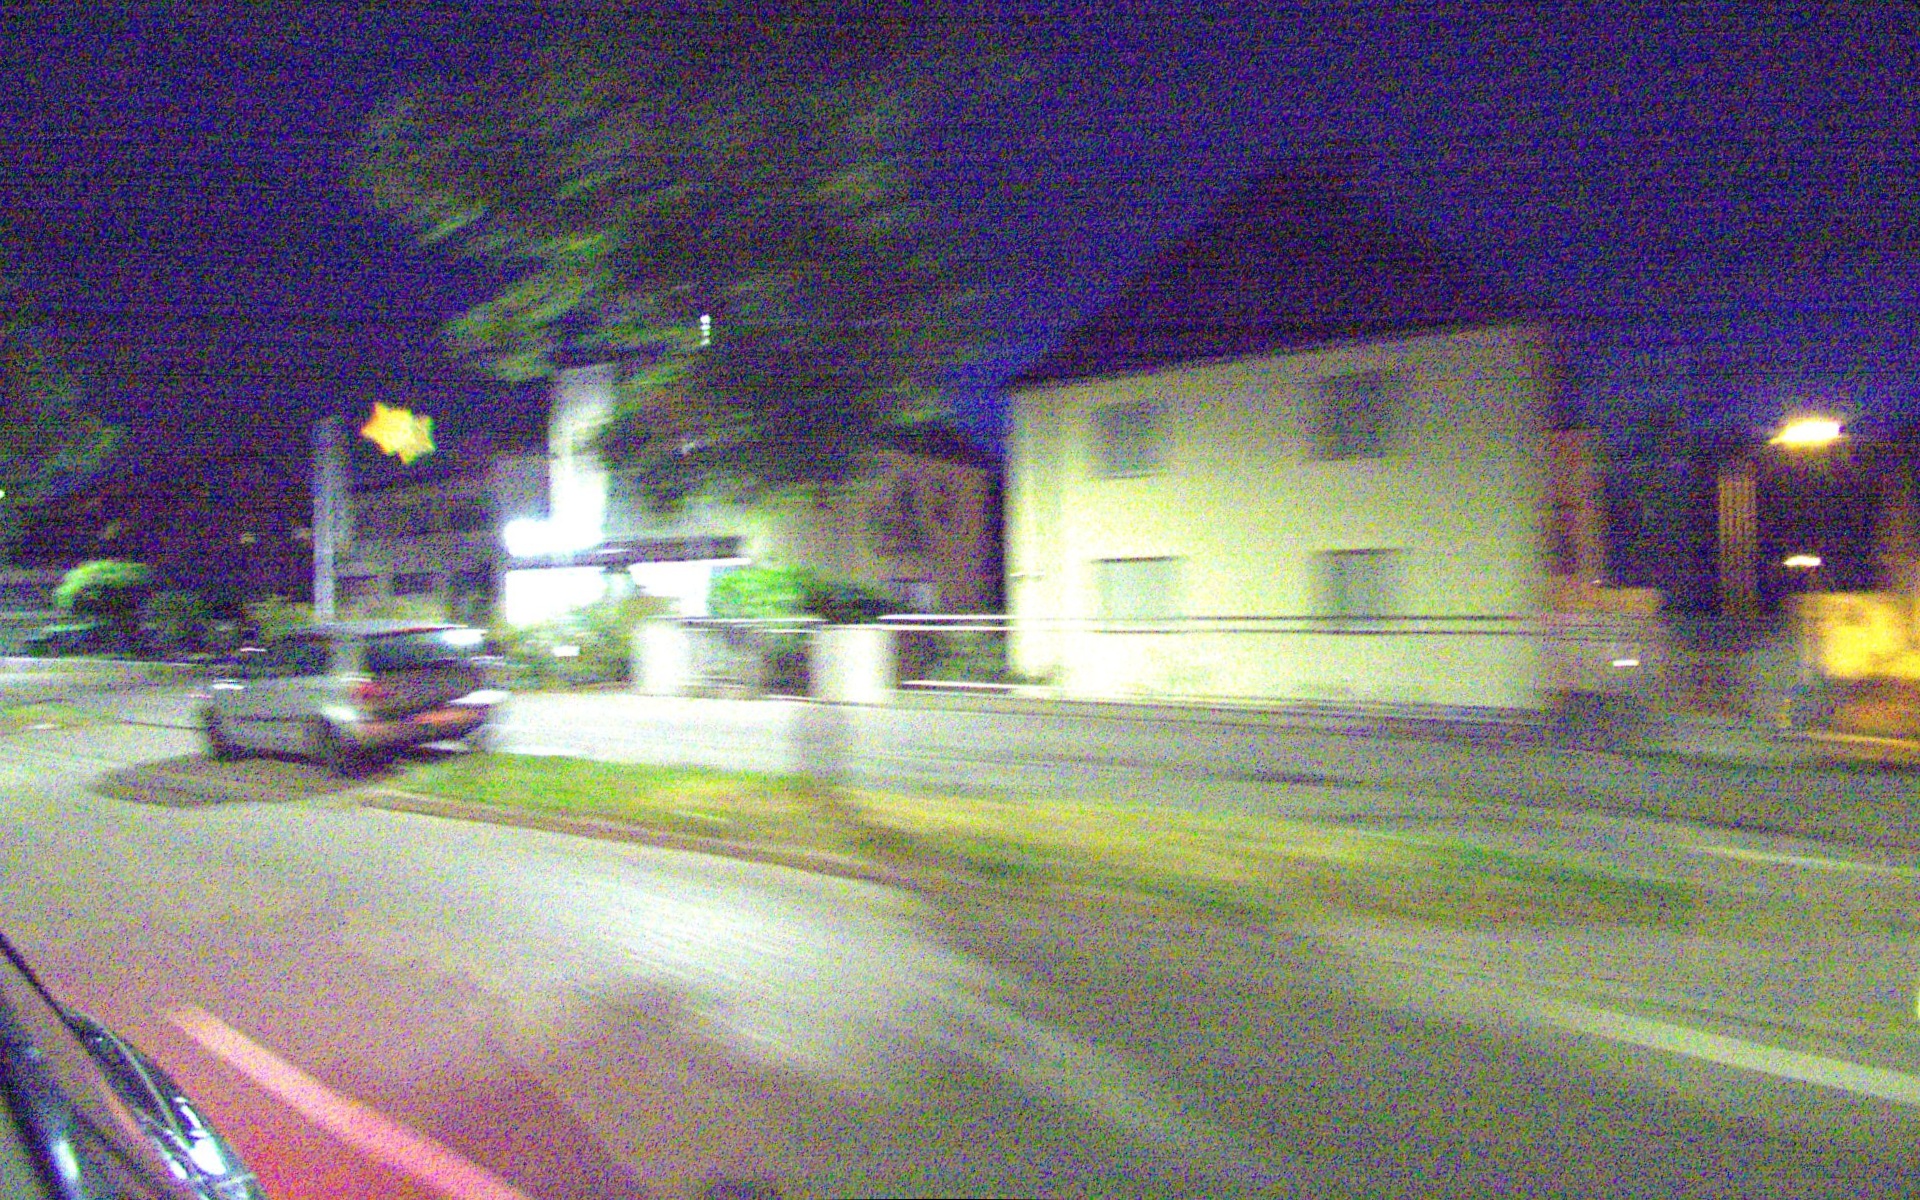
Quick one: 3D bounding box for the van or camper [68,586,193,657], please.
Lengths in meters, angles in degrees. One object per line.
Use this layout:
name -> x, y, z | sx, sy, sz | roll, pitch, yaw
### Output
van or camper -> -34.454, 0.923, 41.972 | 5.906, 2.768, 2.060 | -2, 0, 30

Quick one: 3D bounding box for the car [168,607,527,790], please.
car -> -6.641, 0.948, 10.868 | 3.973, 1.603, 1.660 | -2, 0, 32
